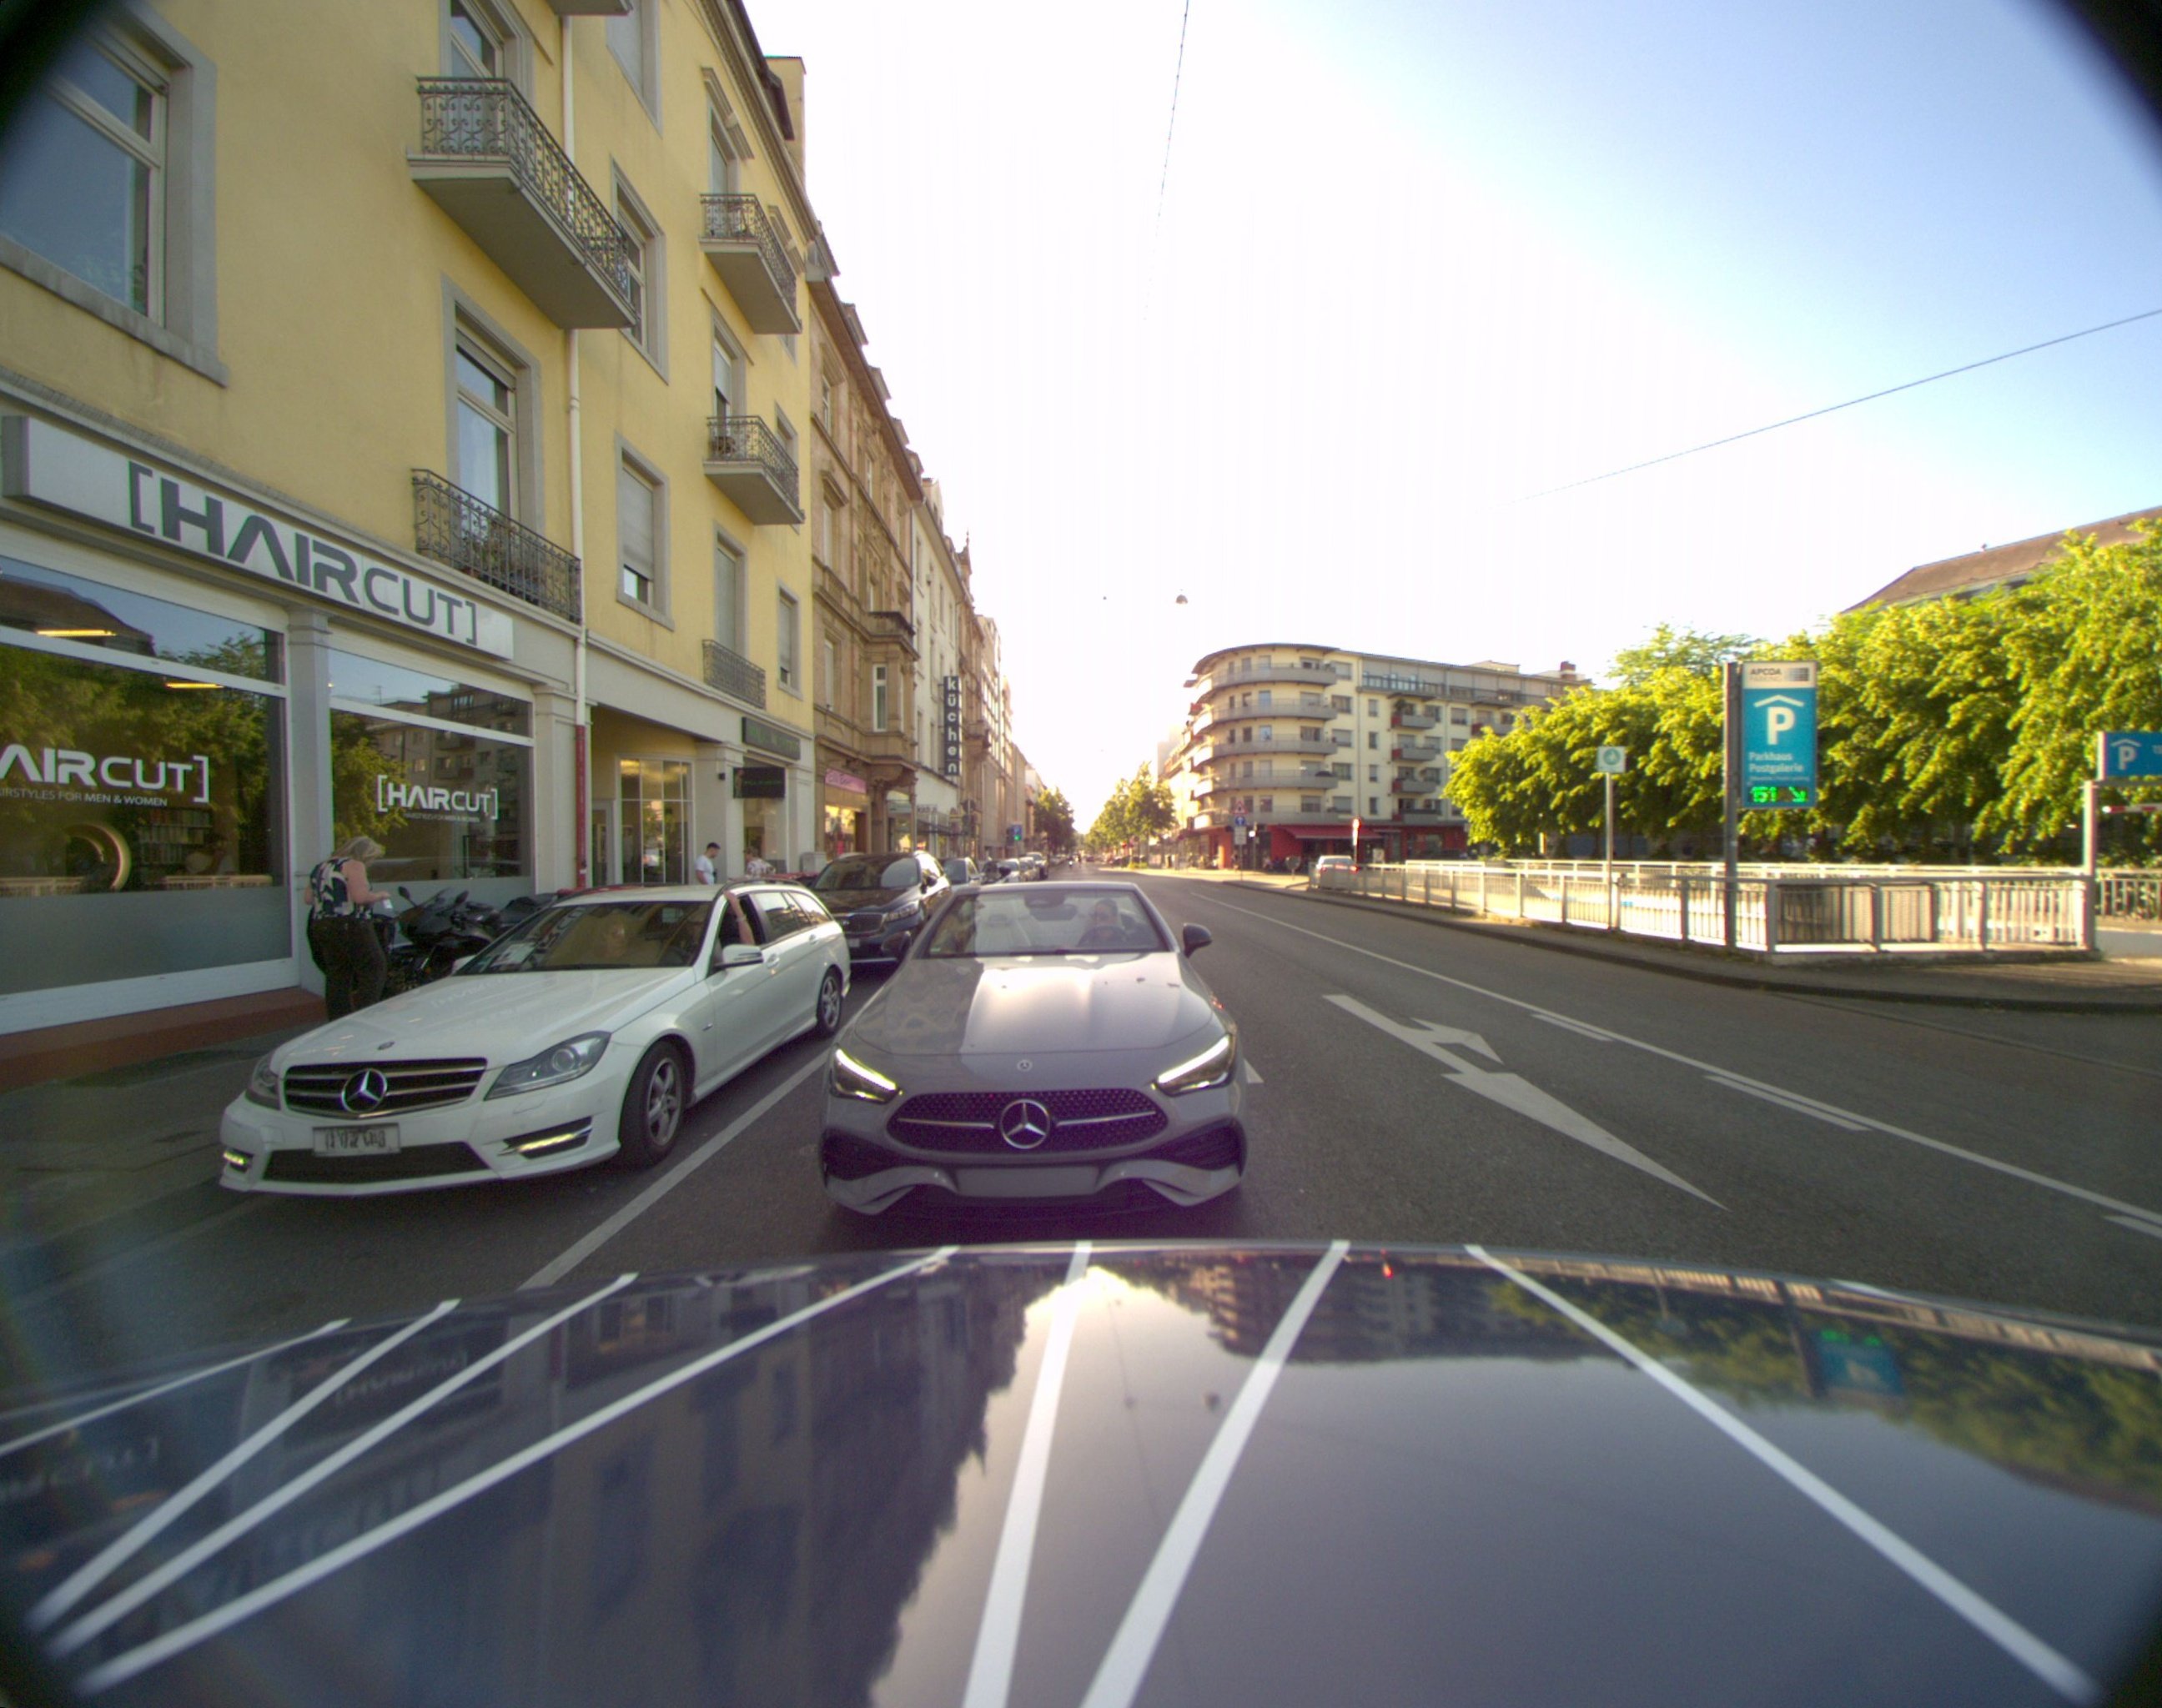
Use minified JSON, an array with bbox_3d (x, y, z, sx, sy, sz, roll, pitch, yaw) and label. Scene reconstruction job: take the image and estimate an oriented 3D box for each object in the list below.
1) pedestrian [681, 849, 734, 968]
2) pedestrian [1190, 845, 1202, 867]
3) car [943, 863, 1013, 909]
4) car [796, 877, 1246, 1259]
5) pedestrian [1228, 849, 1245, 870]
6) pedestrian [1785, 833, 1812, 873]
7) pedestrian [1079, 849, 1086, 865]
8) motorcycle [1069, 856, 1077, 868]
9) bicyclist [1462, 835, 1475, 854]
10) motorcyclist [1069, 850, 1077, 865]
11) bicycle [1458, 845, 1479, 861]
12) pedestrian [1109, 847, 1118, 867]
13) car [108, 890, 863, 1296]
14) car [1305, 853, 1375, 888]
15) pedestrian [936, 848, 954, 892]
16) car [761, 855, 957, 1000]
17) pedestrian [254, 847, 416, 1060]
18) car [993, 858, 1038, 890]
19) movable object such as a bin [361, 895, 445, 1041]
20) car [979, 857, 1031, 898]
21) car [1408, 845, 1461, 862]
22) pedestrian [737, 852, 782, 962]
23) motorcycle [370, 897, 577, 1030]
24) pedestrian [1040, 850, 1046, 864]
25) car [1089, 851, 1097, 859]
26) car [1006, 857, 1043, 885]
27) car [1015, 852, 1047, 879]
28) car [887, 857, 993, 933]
[{"bbox_3d":[-6.379,0.913,12.998,0.373,1.971,0.695,0,1,23],"label":"pedestrian"},{"bbox_3d":[10.301,0.171,68.130,0.860,2.002,0.889,-2,1,0],"label":"pedestrian"},{"bbox_3d":[-3.355,1.005,25.507,1.802,1.259,4.085,-2,1,-1],"label":"car"},{"bbox_3d":[-0.219,0.950,5.134,1.802,1.351,3.999,-2,1,1],"label":"car"},{"bbox_3d":[12.195,0.444,59.640,0.863,1.586,0.887,-3,1,-38],"label":"pedestrian"},{"bbox_3d":[31.075,-0.036,32.905,0.647,1.711,0.607,-3,1,-19],"label":"pedestrian"},{"bbox_3d":[0.203,0.395,95.207,0.792,2.002,0.889,-2,1,1],"label":"pedestrian"},{"bbox_3d":[-0.822,0.817,77.472,0.720,1.177,1.906,-2,1,1],"label":"motorcycle"},{"bbox_3d":[30.799,-0.749,60.420,0.799,1.539,0.524,-3,1,-22],"label":"bicyclist"},{"bbox_3d":[-0.837,0.344,77.525,0.722,1.438,0.705,-2,1,1],"label":"motorcyclist"},{"bbox_3d":[30.818,-0.091,60.440,1.595,1.163,0.526,-3,1,-23],"label":"bicycle"},{"bbox_3d":[3.354,0.305,79.439,0.860,2.002,0.889,-2,1,1],"label":"pedestrian"},{"bbox_3d":[-3.052,1.083,5.285,1.704,1.351,4.378,-2,1,1],"label":"car"},{"bbox_3d":[11.516,0.699,34.072,1.823,1.346,4.265,1,1,3],"label":"car"},{"bbox_3d":[-5.830,0.693,32.692,0.574,1.840,0.665,-2,1,1],"label":"pedestrian"},{"bbox_3d":[-3.025,0.891,11.312,1.803,1.629,4.243,-2,1,-3],"label":"car"},{"bbox_3d":[-6.064,0.775,6.210,0.719,1.644,0.606,1,1,1],"label":"pedestrian"},{"bbox_3d":[-3.115,0.920,36.809,1.802,1.332,3.838,-2,1,-1],"label":"car"},{"bbox_3d":[-5.991,0.989,6.728,0.391,1.231,0.394,1,1,1],"label":"movable object such as a bin"},{"bbox_3d":[-2.997,0.903,30.720,1.660,1.423,4.085,-2,1,-1],"label":"car"},{"bbox_3d":[29.046,-0.060,62.423,4.004,1.294,1.753,-2,1,-23],"label":"car"},{"bbox_3d":[-5.638,0.902,13.308,0.576,1.840,0.663,-3,1,-30],"label":"pedestrian"},{"bbox_3d":[-6.203,1.061,7.925,0.567,1.072,1.954,2,1,1],"label":"motorcycle"},{"bbox_3d":[-5.180,0.413,104.162,0.792,1.920,0.952,-1,1,-1],"label":"pedestrian"},{"bbox_3d":[2.591,0.225,160.270,1.615,1.534,3.931,-1,0,1],"label":"car"},{"bbox_3d":[-3.008,0.860,40.858,1.725,1.332,3.668,-2,1,-1],"label":"car"},{"bbox_3d":[-3.070,0.694,47.382,1.725,1.506,4.004,-2,1,-1],"label":"car"},{"bbox_3d":[-3.310,0.904,18.585,1.802,1.518,4.085,-2,1,-1],"label":"car"}]
